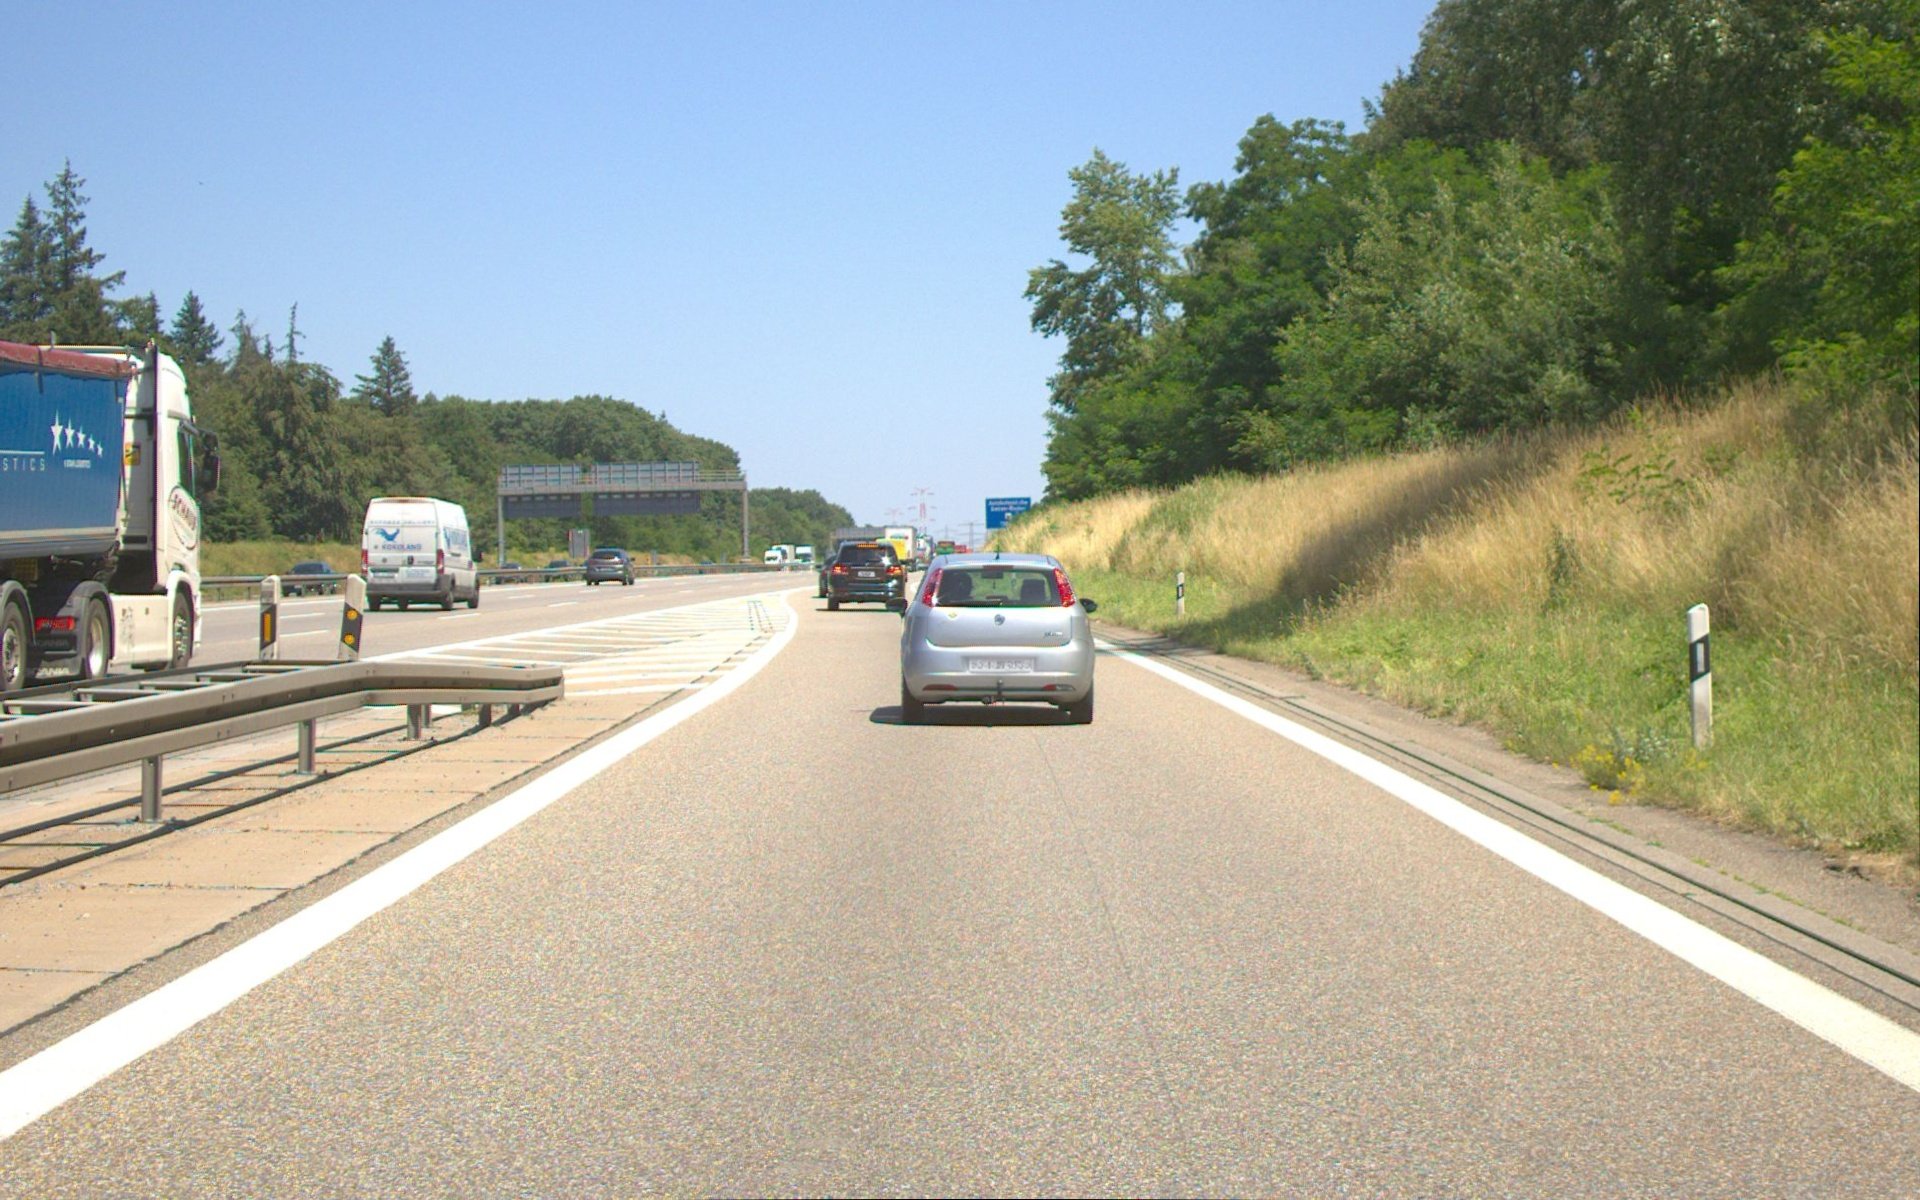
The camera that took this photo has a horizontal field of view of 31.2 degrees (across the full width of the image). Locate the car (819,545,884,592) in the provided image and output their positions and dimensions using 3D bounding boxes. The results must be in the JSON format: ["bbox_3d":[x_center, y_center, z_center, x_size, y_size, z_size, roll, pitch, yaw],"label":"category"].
[{"bbox_3d":[-3.521,-1.021,112.101,1.894,1.464,4.261,1,1,1],"label":"car"}]

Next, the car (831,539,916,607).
[{"bbox_3d":[-2.176,-0.674,87.378,1.832,1.666,4.000,1,0,3],"label":"car"}]

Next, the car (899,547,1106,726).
[{"bbox_3d":[0.324,0.278,30.755,1.719,1.486,3.737,1,1,-1],"label":"car"}]

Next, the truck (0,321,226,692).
[{"bbox_3d":[-10.025,-0.976,37.680,2.684,3.746,5.944,0,1,0],"label":"truck"}]

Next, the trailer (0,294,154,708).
[{"bbox_3d":[-10.039,-0.909,32.413,2.737,3.746,9.109,0,1,0],"label":"trailer"}]

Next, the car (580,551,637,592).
[{"bbox_3d":[-15.902,-1.291,155.698,2.156,1.808,4.860,0,1,-1],"label":"car"}]

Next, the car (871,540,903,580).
[{"bbox_3d":[-3.786,-2.085,179.452,1.611,2.007,4.000,1,0,-1],"label":"car"}]

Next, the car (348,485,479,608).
[{"bbox_3d":[-13.565,-1.306,85.739,2.260,2.940,6.114,1,0,0],"label":"car"}]

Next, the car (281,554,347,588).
[{"bbox_3d":[-29.325,-1.330,156.143,2.156,1.493,4.860,0,1,-1],"label":"car"}]
